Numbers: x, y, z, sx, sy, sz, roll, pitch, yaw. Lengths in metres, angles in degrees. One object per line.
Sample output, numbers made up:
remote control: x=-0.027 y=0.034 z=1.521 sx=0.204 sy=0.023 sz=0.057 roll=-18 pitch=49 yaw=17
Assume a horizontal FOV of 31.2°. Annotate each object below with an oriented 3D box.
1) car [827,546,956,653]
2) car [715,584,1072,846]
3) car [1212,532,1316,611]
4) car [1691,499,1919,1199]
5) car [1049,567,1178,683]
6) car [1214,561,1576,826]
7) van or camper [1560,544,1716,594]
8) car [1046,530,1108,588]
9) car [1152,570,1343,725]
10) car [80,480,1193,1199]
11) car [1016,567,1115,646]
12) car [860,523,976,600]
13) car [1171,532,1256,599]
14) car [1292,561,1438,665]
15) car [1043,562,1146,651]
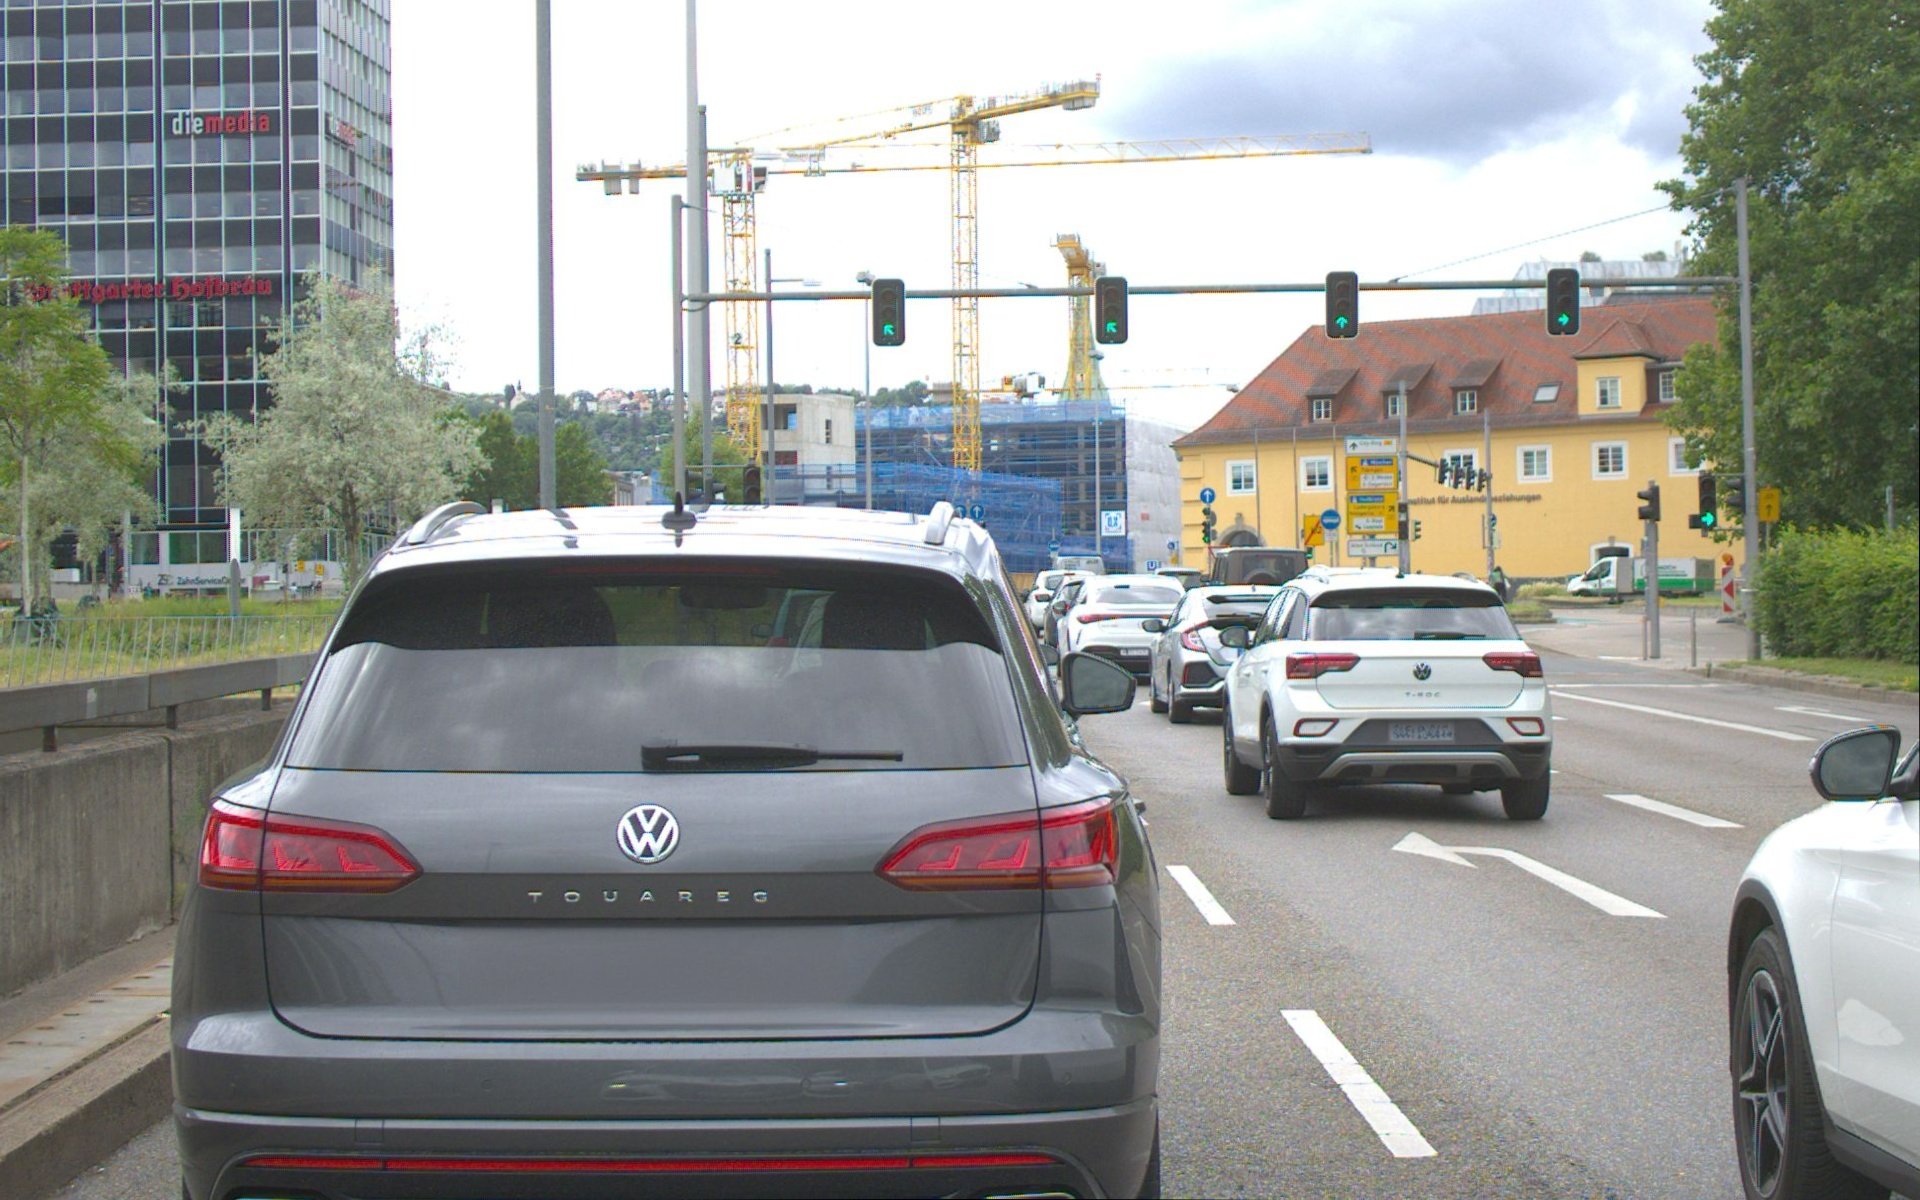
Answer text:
car: x=-0.991 y=-0.039 z=50.666 sx=1.814 sy=1.491 sz=3.906 roll=0 pitch=1 yaw=-1
car: x=-0.394 y=0.631 z=21.208 sx=1.993 sy=1.382 sz=4.000 roll=0 pitch=1 yaw=-1
car: x=5.957 y=-0.579 z=67.653 sx=1.719 sy=1.497 sz=3.981 roll=0 pitch=1 yaw=1
car: x=2.679 y=0.641 z=6.206 sx=1.819 sy=1.641 sz=4.379 roll=0 pitch=1 yaw=1
car: x=2.153 y=0.313 z=48.047 sx=1.719 sy=1.497 sz=3.981 roll=0 pitch=1 yaw=3
car: x=2.789 y=0.549 z=22.837 sx=1.893 sy=1.580 sz=3.801 roll=0 pitch=1 yaw=0
van or camper: x=28.030 y=-1.282 z=142.222 sx=6.017 sy=2.007 sz=2.015 roll=0 pitch=0 yaw=35
car: x=4.095 y=-1.456 z=120.762 sx=1.993 sy=2.007 sz=4.000 roll=0 pitch=1 yaw=-1
car: x=2.996 y=0.461 z=36.544 sx=1.719 sy=1.497 sz=4.144 roll=0 pitch=1 yaw=1
car: x=-0.587 y=0.579 z=7.990 sx=1.933 sy=1.641 sz=4.000 roll=0 pitch=1 yaw=-1
car: x=2.351 y=0.122 z=76.515 sx=2.139 sy=1.722 sz=4.070 roll=0 pitch=0 yaw=2
car: x=-0.810 y=-0.801 z=69.563 sx=2.244 sy=1.497 sz=4.611 roll=0 pitch=1 yaw=1
car: x=5.862 y=-0.819 z=79.856 sx=1.719 sy=1.497 sz=3.981 roll=0 pitch=1 yaw=1
car: x=6.176 y=0.175 z=52.835 sx=1.803 sy=1.497 sz=3.981 roll=0 pitch=1 yaw=1
car: x=2.389 y=0.089 z=61.885 sx=1.719 sy=1.497 sz=3.981 roll=0 pitch=1 yaw=0
